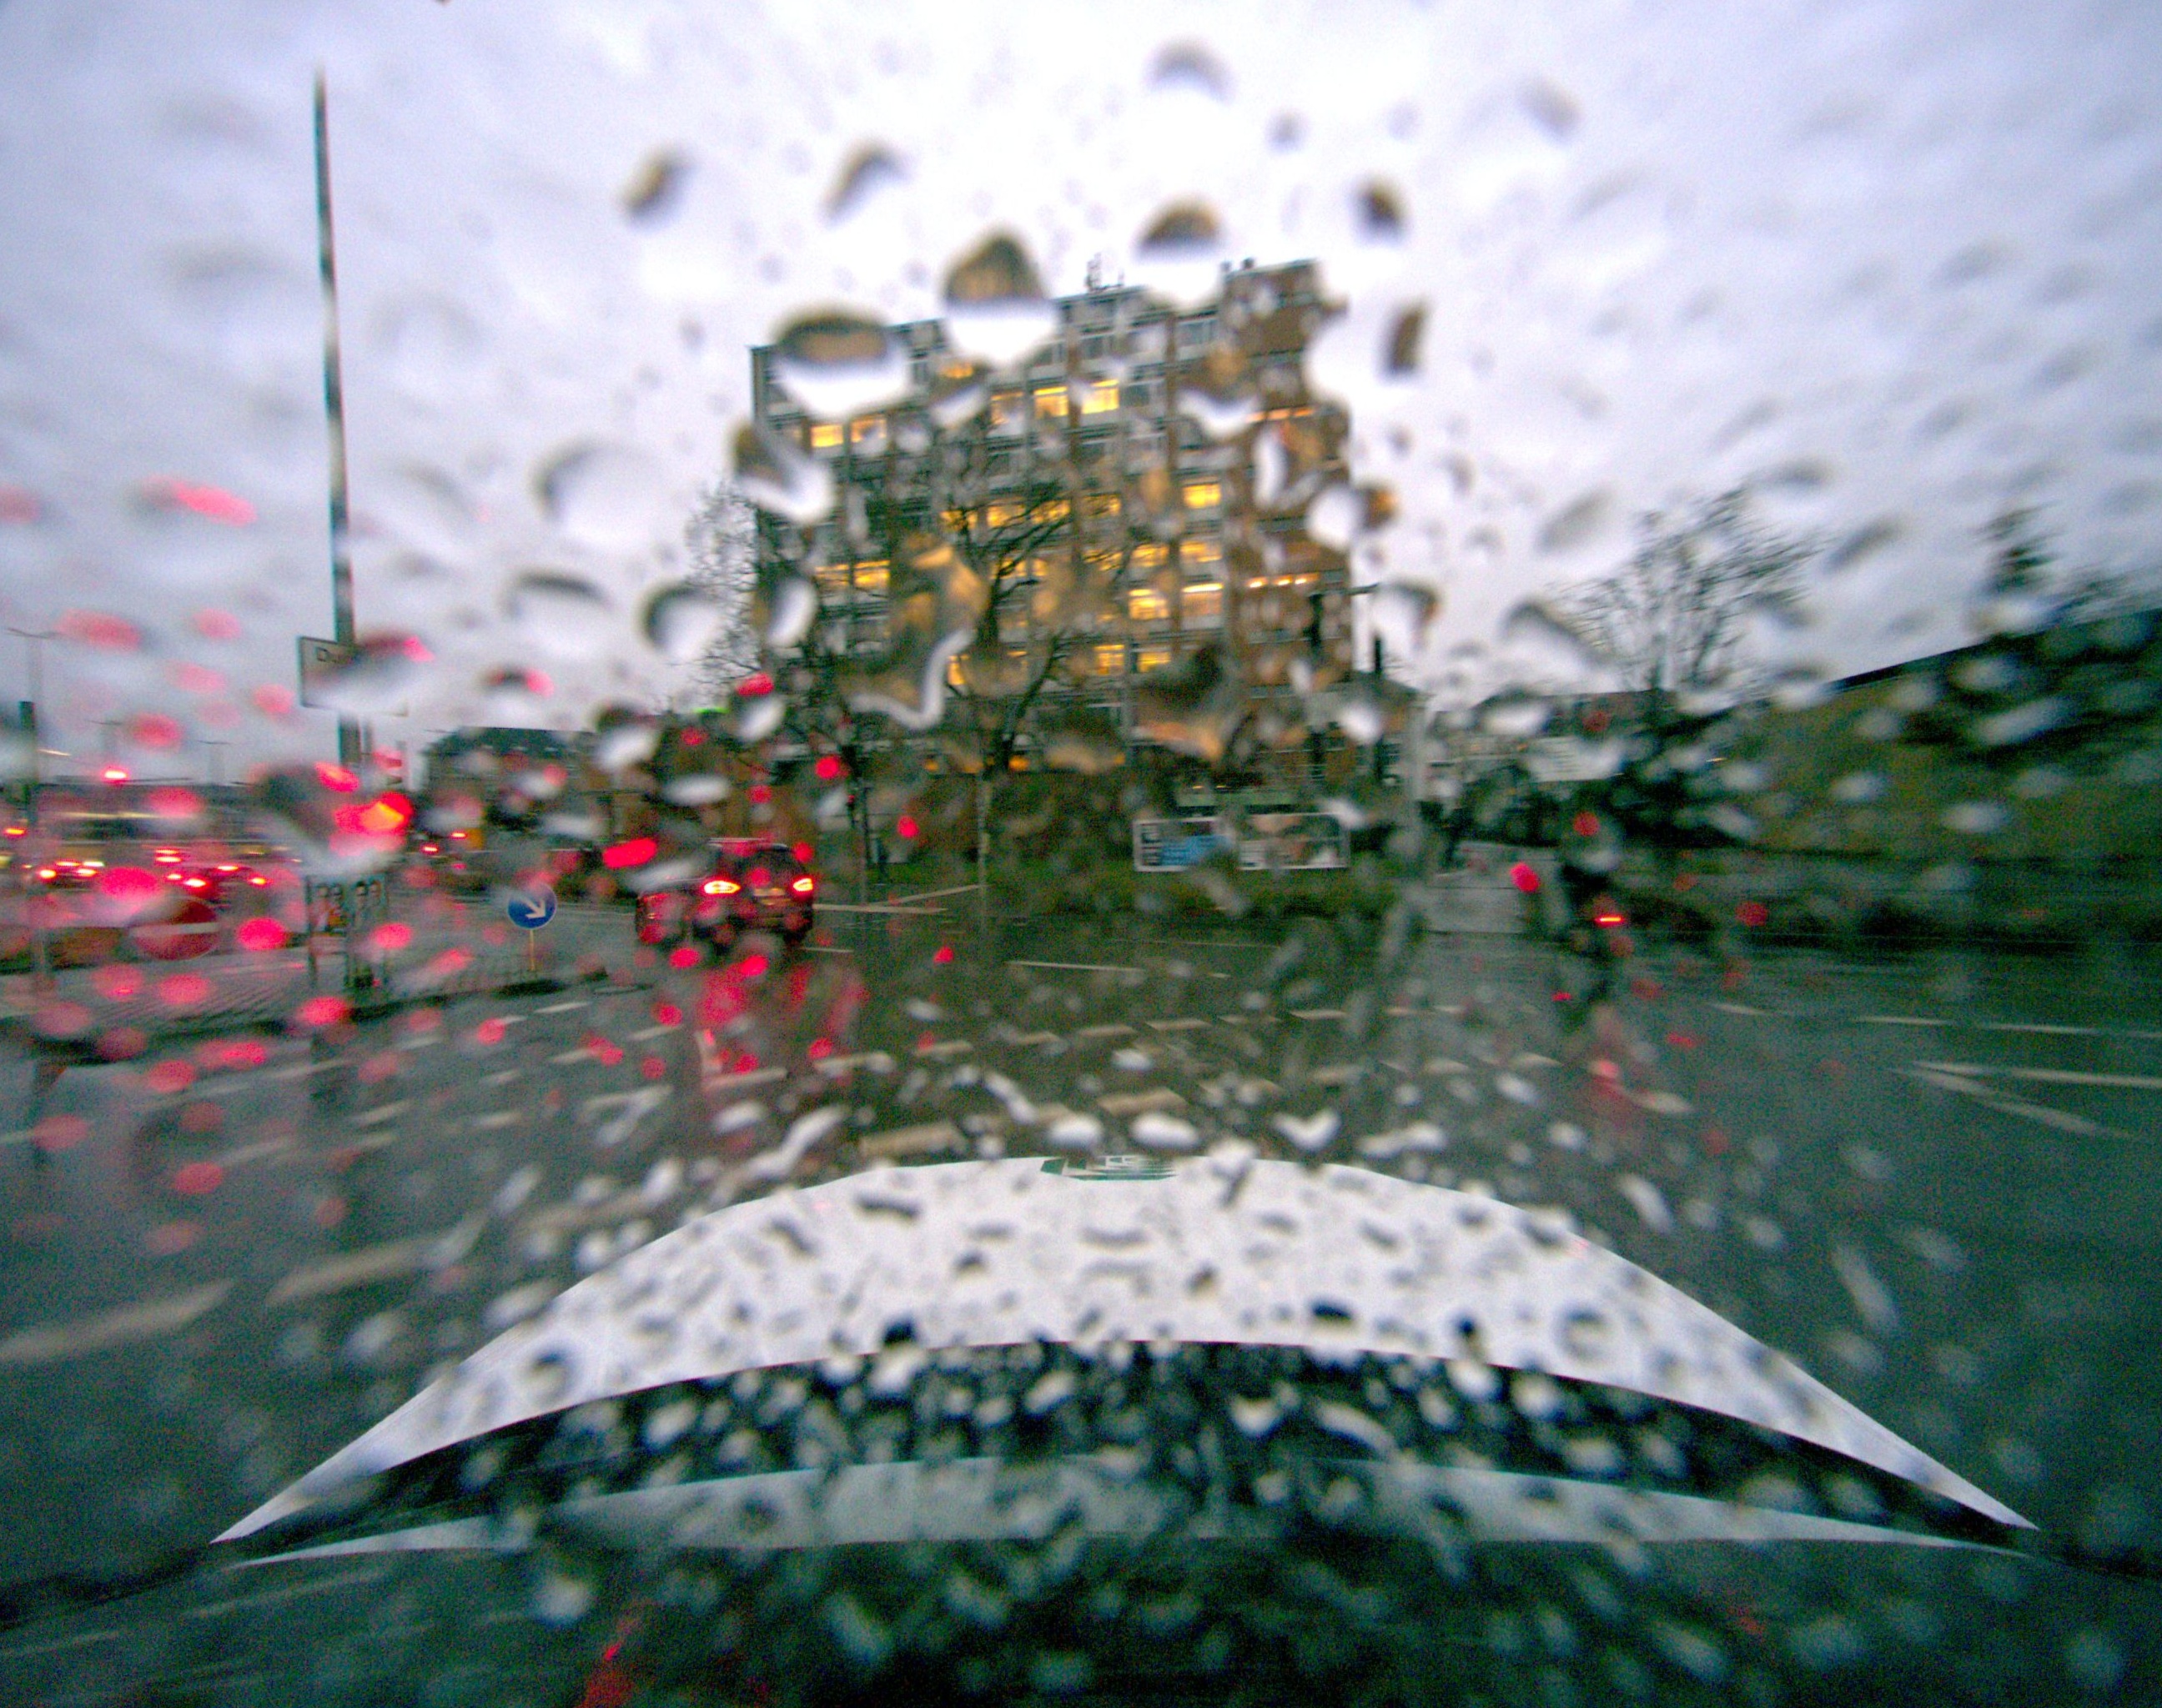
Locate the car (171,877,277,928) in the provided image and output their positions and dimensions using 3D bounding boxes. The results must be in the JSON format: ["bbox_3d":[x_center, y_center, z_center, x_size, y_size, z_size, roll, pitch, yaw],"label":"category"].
[{"bbox_3d":[-27.858,1.517,26.440,3.822,1.482,1.717,0,-1,34],"label":"car"}]

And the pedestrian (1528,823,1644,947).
[{"bbox_3d":[5.646,0.330,9.162,0.868,1.316,0.851,-2,2,13],"label":"pedestrian"}]

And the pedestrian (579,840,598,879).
[{"bbox_3d":[-22.644,0.247,37.447,0.586,1.781,0.763,-4,2,-25],"label":"pedestrian"}]

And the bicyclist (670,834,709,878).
[{"bbox_3d":[-14.903,0.064,30.989,1.072,1.617,0.812,0,5,36],"label":"bicyclist"}]

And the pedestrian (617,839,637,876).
[{"bbox_3d":[-21.345,0.164,38.318,0.721,1.687,0.754,-2,2,-26],"label":"pedestrian"}]

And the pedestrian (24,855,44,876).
[{"bbox_3d":[-90.090,0.979,70.062,0.839,1.820,0.688,-4,2,-41],"label":"pedestrian"}]

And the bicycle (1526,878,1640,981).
[{"bbox_3d":[5.841,0.825,9.599,0.557,0.946,2.104,-1,2,15],"label":"bicycle"}]

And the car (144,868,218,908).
[{"bbox_3d":[-38.661,1.405,34.949,4.482,1.601,1.802,0,-1,38],"label":"car"}]

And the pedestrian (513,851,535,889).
[{"bbox_3d":[-29.030,0.829,42.433,0.811,1.929,0.754,0,2,-25],"label":"pedestrian"}]

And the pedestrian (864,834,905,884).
[{"bbox_3d":[-6.939,0.168,28.700,1.056,1.687,0.815,-1,3,34],"label":"pedestrian"}]

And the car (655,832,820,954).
[{"bbox_3d":[-6.173,0.537,14.338,1.791,1.800,4.377,-1,1,-35],"label":"car"}]

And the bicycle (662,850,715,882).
[{"bbox_3d":[-14.992,0.443,31.073,2.185,1.141,0.812,0,5,36],"label":"bicycle"}]

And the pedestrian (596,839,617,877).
[{"bbox_3d":[-21.951,0.180,37.695,0.671,1.687,0.607,-4,4,-25],"label":"pedestrian"}]

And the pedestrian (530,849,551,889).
[{"bbox_3d":[-28.518,0.783,42.957,0.811,2.013,0.754,0,2,-25],"label":"pedestrian"}]

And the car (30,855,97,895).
[{"bbox_3d":[-48.887,0.962,39.178,3.948,1.771,1.903,0,1,39],"label":"car"}]

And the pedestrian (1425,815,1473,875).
[{"bbox_3d":[10.868,-0.280,24.064,0.925,1.687,0.909,-1,4,-12],"label":"pedestrian"}]
